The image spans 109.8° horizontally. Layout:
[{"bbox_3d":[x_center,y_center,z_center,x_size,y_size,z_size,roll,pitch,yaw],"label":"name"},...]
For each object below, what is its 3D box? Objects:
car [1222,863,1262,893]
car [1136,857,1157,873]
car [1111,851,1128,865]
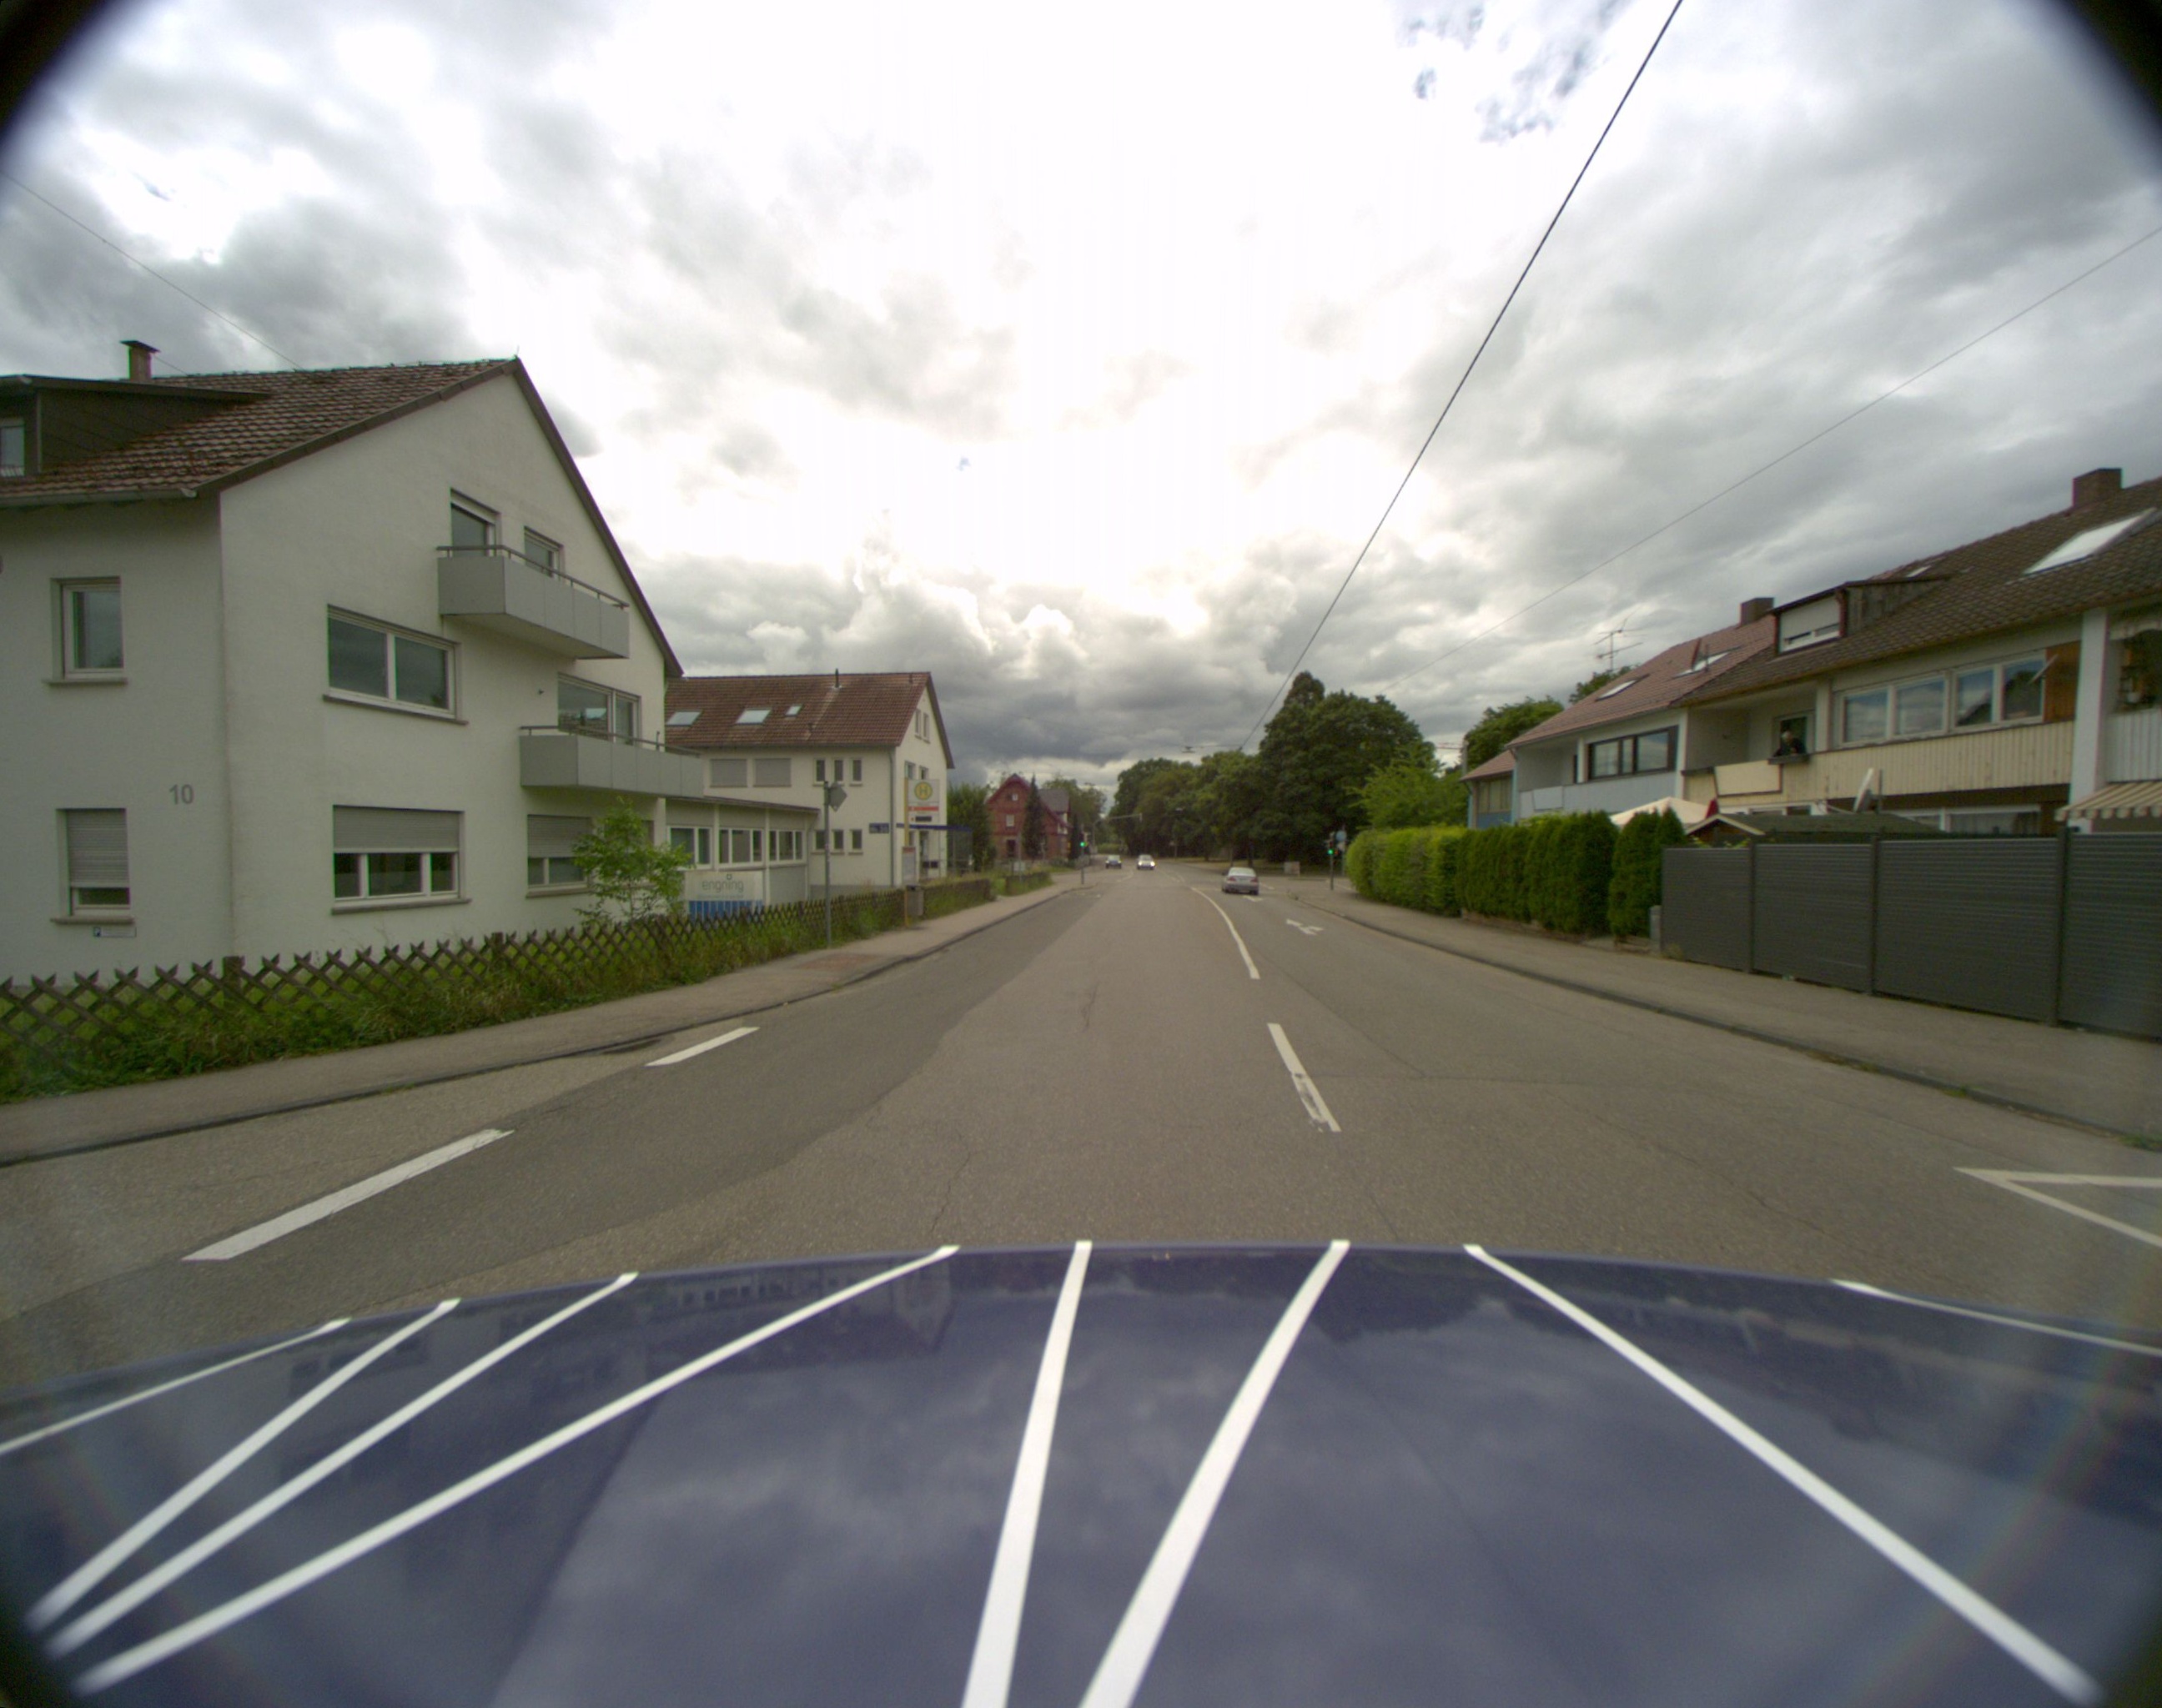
[{"bbox_3d":[8.465,1.241,40.244,1.716,1.346,4.086,4,0,8],"label":"car"},{"bbox_3d":[7.149,1.191,83.431,1.780,1.510,3.556,-2,1,-3],"label":"car"},{"bbox_3d":[4.465,0.456,87.982,1.926,1.510,4.000,-1,1,4],"label":"car"}]
